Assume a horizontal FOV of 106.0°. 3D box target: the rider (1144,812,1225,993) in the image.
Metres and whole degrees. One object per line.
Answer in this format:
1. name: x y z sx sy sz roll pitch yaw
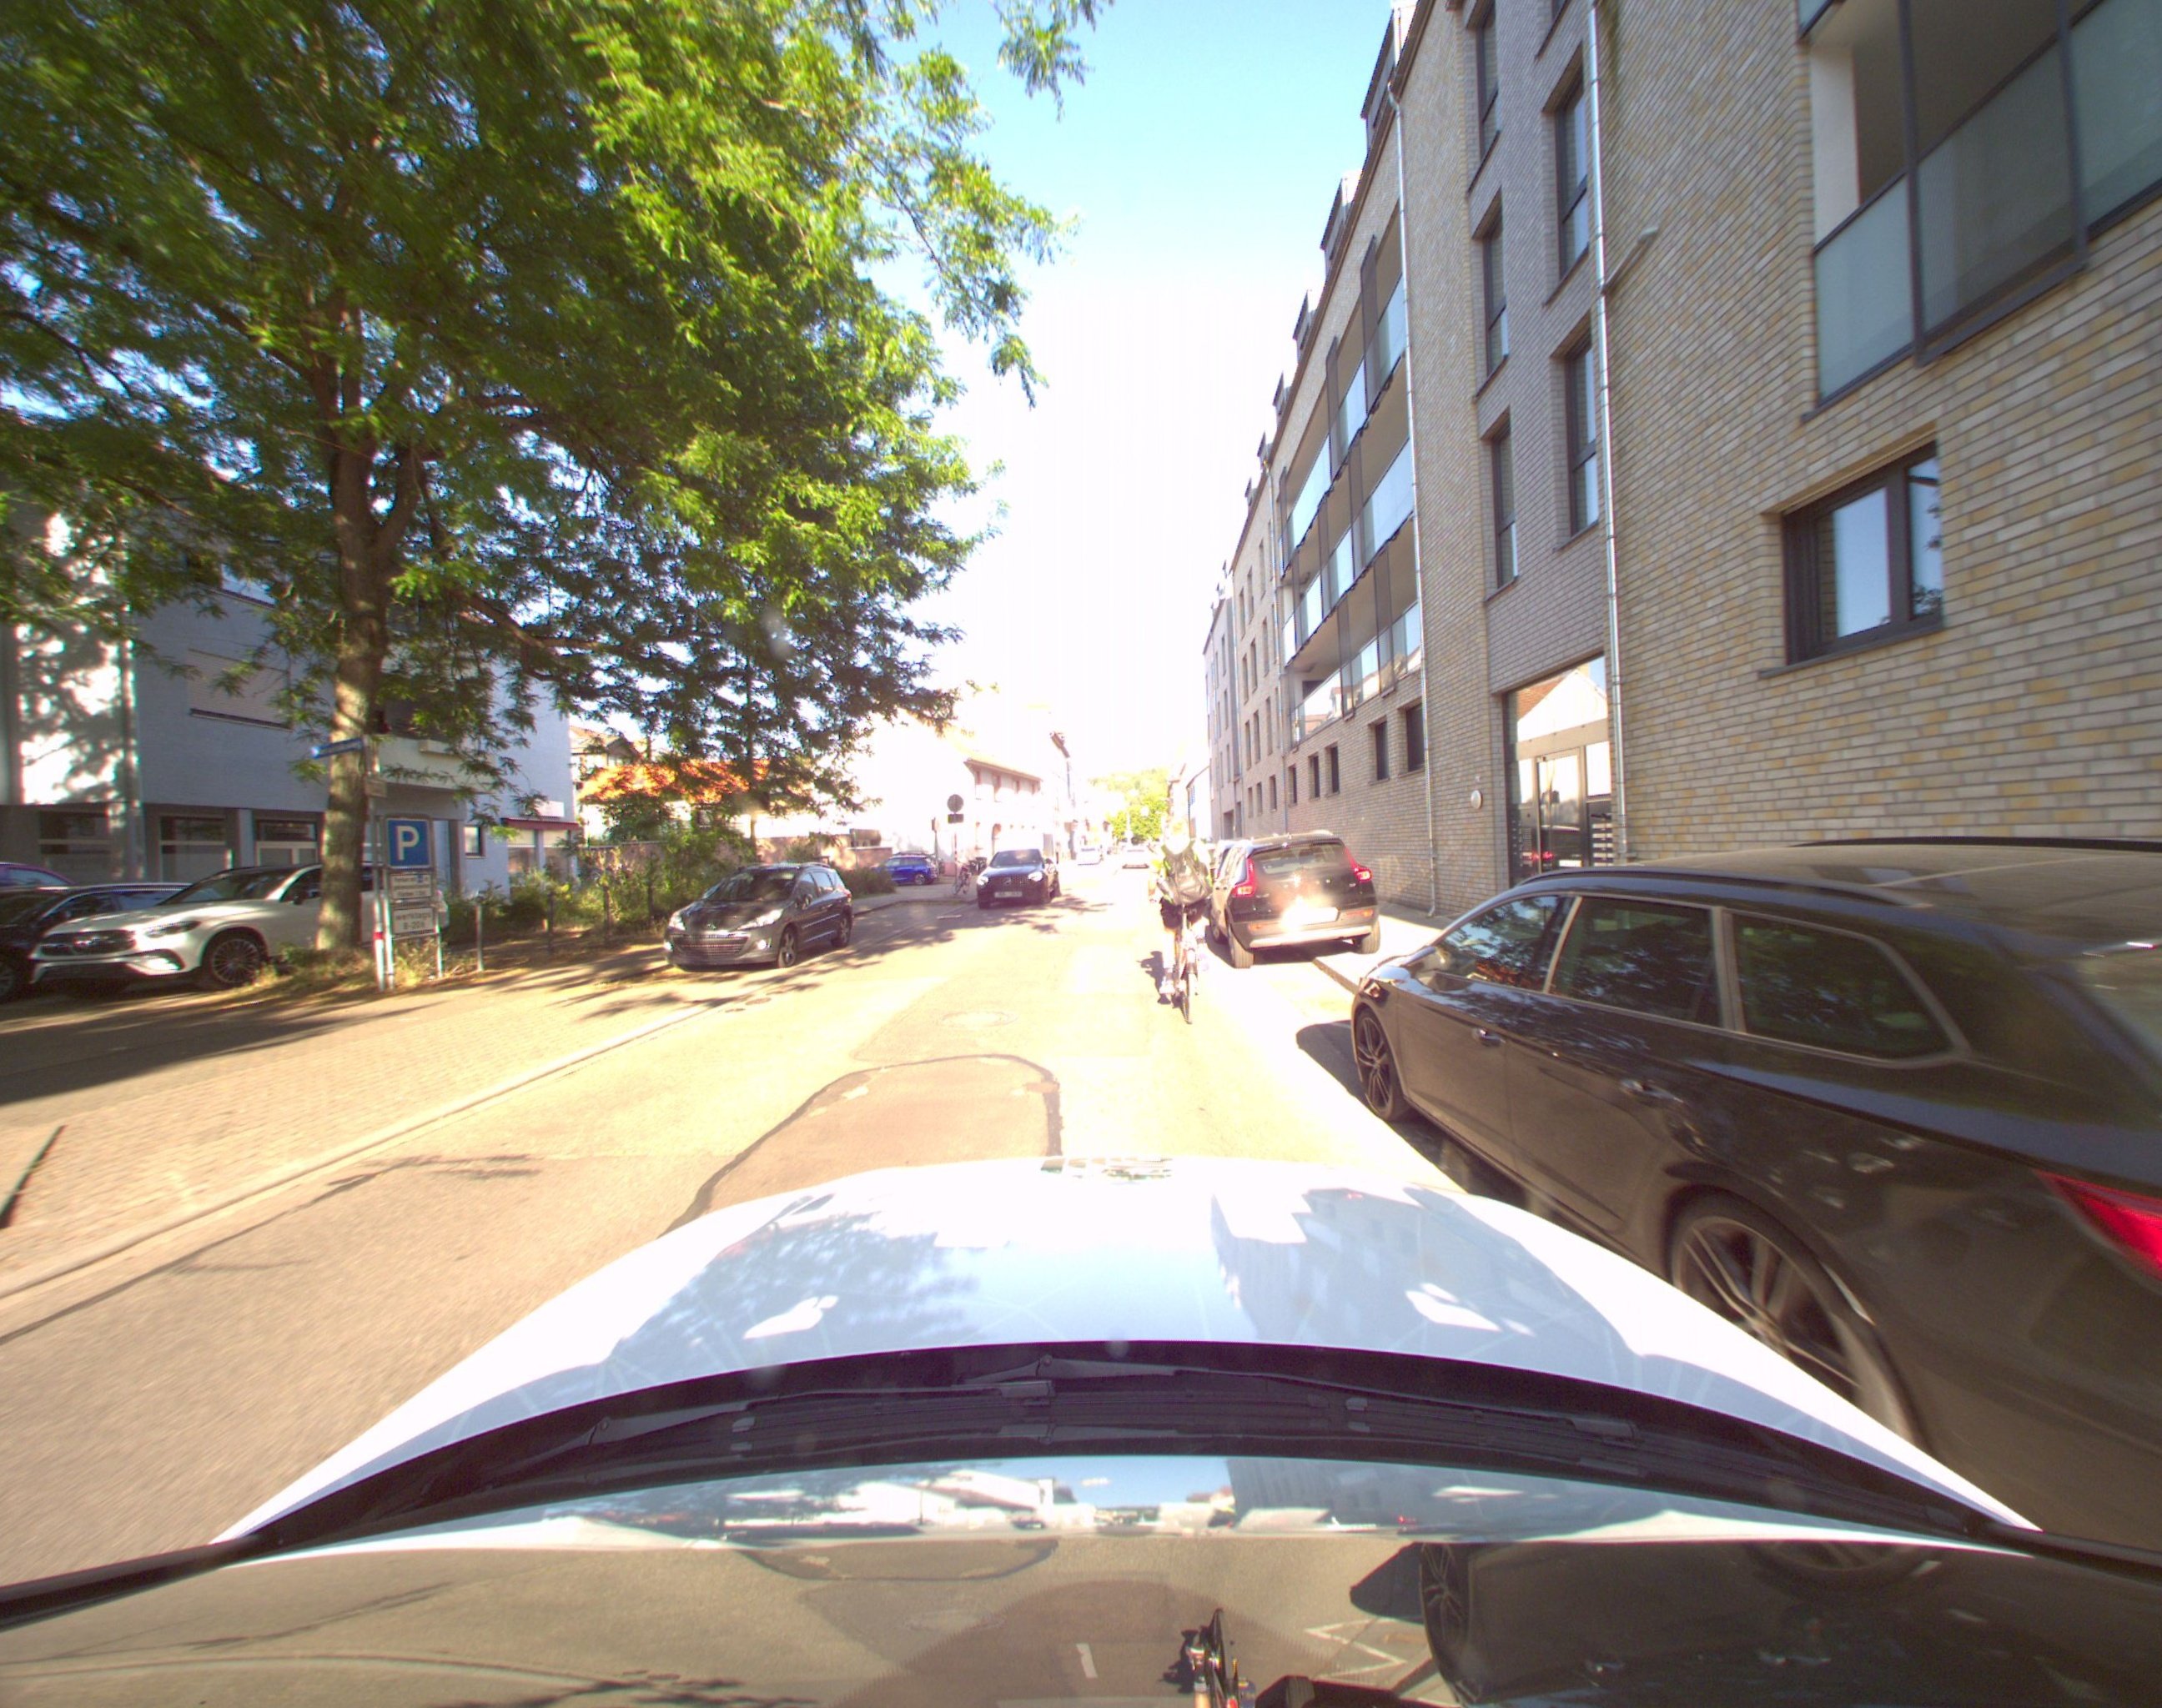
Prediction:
1. rider: 0.932 0.424 7.582 0.651 1.562 1.084 0 -1 2

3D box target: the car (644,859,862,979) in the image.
1. car: -5.022 0.900 13.128 1.690 1.491 4.002 -3 0 2

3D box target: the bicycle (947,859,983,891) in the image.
1. bicycle: -3.969 0.707 27.905 0.700 1.003 1.945 -2 1 7

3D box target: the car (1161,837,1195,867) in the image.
1. car: 6.048 -0.143 51.279 1.846 1.636 4.629 -5 1 5

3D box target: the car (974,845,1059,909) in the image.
1. car: -1.734 0.581 23.431 1.932 1.576 4.320 -3 0 1

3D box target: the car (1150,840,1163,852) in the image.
1. car: 12.886 -1.397 139.278 2.002 1.852 4.004 -2 1 3

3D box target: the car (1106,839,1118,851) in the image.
1. car: 5.517 -1.595 145.310 1.986 2.013 4.003 -3 1 2

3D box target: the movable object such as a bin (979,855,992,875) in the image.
1. movable object such as a bin: -5.622 0.651 47.892 0.596 1.094 0.752 -2 0 4

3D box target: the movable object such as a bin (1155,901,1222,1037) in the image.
1. movable object such as a bin: 0.968 0.998 7.643 0.453 1.033 1.841 0 -1 2

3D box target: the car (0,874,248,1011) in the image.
1. car: -14.293 1.174 11.003 2.068 1.575 3.808 -3 1 0

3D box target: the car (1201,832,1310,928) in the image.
1. car: 3.635 0.428 17.721 1.879 1.712 4.785 -3 1 8

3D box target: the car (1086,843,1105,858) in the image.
1. car: 1.554 -0.366 85.456 1.723 1.499 3.962 -3 0 3

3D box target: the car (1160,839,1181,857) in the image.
1. car: 8.139 -0.583 74.609 1.733 1.491 4.445 -5 0 5

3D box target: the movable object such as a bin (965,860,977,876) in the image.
1. movable object such as a bin: -6.328 0.804 46.865 0.596 0.872 0.606 -2 0 2

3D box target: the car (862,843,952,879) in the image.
1. car: -9.455 0.374 44.492 4.342 1.794 1.991 0 3 5

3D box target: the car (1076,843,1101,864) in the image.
1. car: 0.640 -0.093 68.922 1.986 1.647 5.223 -2 1 1

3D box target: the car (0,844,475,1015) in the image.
1. car: -11.761 0.864 12.048 1.837 1.895 4.905 -3 1 -1

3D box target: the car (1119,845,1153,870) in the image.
1. car: 3.506 0.198 52.333 1.986 1.466 4.002 -3 0 2

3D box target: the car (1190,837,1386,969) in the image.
1. car: 2.737 0.556 11.764 1.809 1.466 4.272 -3 0 2

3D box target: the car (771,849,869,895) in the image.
1. car: -13.041 0.881 40.883 3.970 1.500 2.003 -10 3 4

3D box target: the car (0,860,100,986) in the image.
1. car: -17.713 1.134 11.803 2.017 1.948 4.311 -3 1 -9

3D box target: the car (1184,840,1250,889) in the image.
1. car: 4.653 0.304 28.357 1.705 1.404 4.077 -6 0 3

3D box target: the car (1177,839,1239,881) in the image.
1. car: 5.111 0.193 33.266 1.985 1.505 4.370 -3 1 3

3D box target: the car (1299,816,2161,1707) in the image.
1. car: 2.450 0.676 3.393 1.691 1.467 4.719 -4 0 0

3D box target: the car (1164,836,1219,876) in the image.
1. car: 5.111 0.024 38.385 1.986 1.653 4.764 -3 1 1

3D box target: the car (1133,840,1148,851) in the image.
1. car: 8.613 -1.255 117.210 1.984 1.466 4.006 -3 0 5

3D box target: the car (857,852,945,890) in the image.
1. car: -8.970 0.828 40.755 3.750 1.530 2.003 -4 1 4
